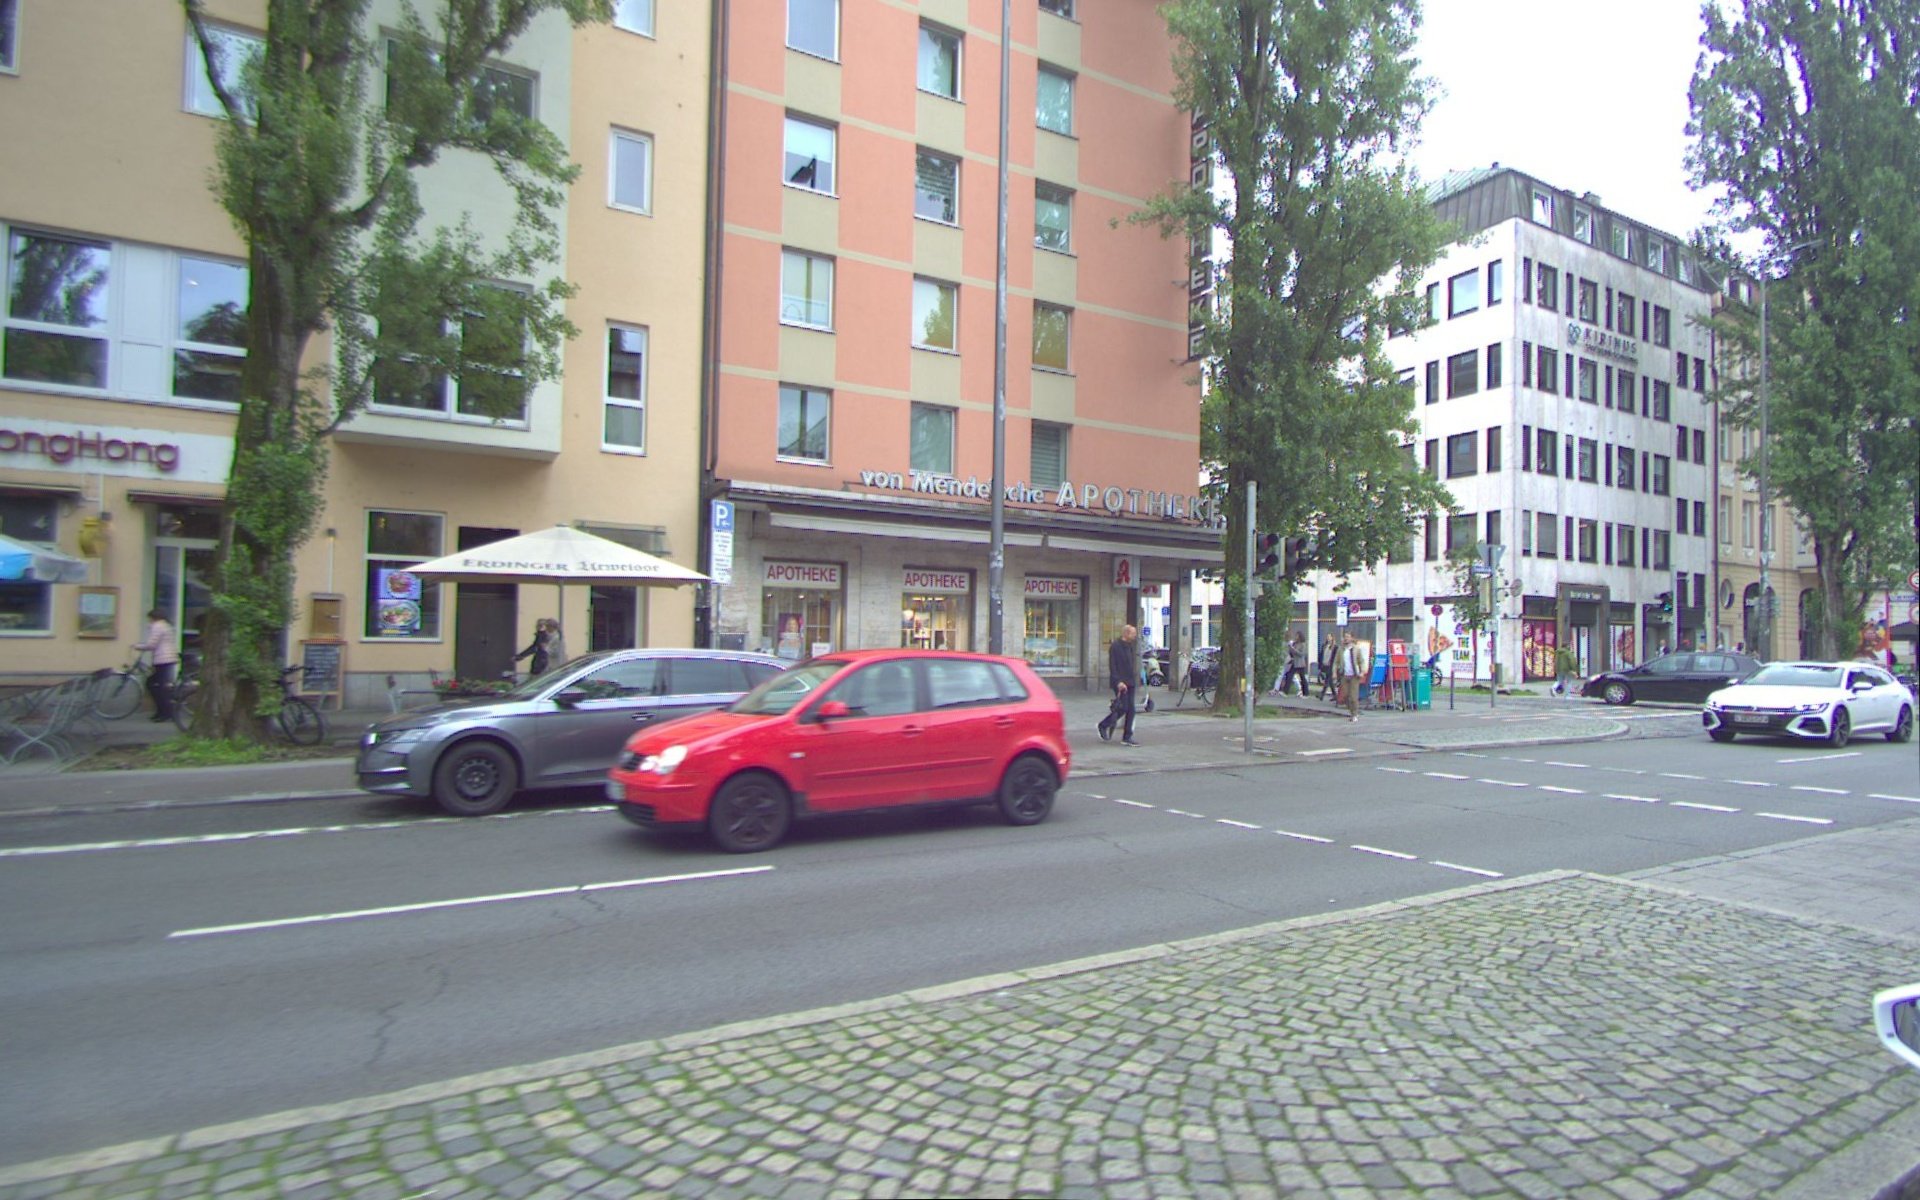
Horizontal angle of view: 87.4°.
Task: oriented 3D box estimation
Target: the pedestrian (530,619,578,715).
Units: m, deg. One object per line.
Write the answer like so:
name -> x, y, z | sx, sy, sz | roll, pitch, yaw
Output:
pedestrian -> -7.225, 1.182, 17.884 | 0.684, 1.660, 0.552 | 2, -2, -31

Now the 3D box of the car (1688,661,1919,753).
car -> 15.169, 1.837, 17.968 | 4.579, 1.426, 1.814 | 3, -3, -31

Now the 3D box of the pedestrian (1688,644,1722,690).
pedestrian -> 28.972, 2.592, 39.048 | 0.966, 1.704, 0.728 | 2, -1, -30

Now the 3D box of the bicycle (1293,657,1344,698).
bicycle -> 10.881, 2.332, 30.484 | 2.044, 1.199, 0.412 | 3, -2, -37

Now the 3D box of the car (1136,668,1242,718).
car -> 8.122, 3.299, 35.941 | 1.755, 1.439, 3.980 | 3, -1, -21

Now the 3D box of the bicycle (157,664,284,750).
bicycle -> -9.025, 1.290, 12.260 | 1.504, 0.971, 0.325 | 1, -2, 14

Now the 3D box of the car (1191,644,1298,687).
car -> 10.329, 2.365, 36.755 | 1.755, 1.438, 3.981 | 2, -2, -21

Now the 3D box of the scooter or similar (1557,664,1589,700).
scooter or similar -> 19.908, 2.671, 32.625 | 0.271, 1.107, 0.808 | 3, -1, -33

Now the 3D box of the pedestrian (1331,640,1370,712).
pedestrian -> 8.986, 1.736, 23.122 | 0.541, 1.604, 0.654 | 2, -2, -29

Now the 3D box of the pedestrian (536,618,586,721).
pedestrian -> -6.880, 1.186, 17.316 | 0.684, 1.740, 0.552 | 2, -2, -31

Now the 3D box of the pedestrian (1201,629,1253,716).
pedestrian -> 5.683, 1.531, 21.370 | 0.768, 1.794, 0.721 | 2, -2, -29

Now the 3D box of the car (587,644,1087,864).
car -> -0.967, 1.129, 8.392 | 3.779, 1.456, 1.728 | 3, -3, -31

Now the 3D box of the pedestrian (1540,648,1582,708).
pedestrian -> 18.310, 2.381, 30.597 | 0.931, 1.763, 0.723 | 3, -1, -31

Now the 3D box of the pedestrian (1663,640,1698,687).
pedestrian -> 28.508, 2.496, 39.724 | 0.901, 1.811, 0.796 | 2, 0, -30

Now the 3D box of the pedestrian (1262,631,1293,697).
pedestrian -> 8.386, 1.677, 26.530 | 0.508, 1.713, 0.584 | 2, -2, -30

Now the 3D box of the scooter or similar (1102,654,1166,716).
scooter or similar -> 3.528, 1.705, 20.307 | 1.390, 1.189, 0.404 | 2, -2, -35

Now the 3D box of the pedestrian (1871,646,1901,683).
pedestrian -> 46.060, 3.205, 49.958 | 0.943, 1.767, 0.840 | 3, -1, -29

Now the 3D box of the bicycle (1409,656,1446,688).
bicycle -> 18.018, 2.766, 38.718 | 2.014, 1.199, 0.412 | 3, -2, -37

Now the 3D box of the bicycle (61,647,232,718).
bicycle -> -12.274, 1.243, 15.226 | 1.933, 1.015, 0.440 | 2, -2, -29

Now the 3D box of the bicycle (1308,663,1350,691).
bicycle -> 15.151, 3.133, 41.241 | 0.410, 1.061, 2.055 | 2, -2, -19

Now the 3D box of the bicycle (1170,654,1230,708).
bicycle -> 5.320, 1.779, 22.230 | 1.357, 1.156, 0.419 | 2, -2, -30

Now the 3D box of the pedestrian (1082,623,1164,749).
pedestrian -> 2.466, 1.286, 15.224 | 0.975, 1.819, 0.736 | 2, -1, -12

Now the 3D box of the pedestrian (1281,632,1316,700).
pedestrian -> 8.724, 1.688, 25.924 | 0.513, 1.711, 0.627 | 3, -1, -29

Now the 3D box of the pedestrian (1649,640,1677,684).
pedestrian -> 29.807, 2.618, 42.616 | 0.810, 1.811, 0.696 | 2, -2, -29

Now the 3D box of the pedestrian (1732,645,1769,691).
pedestrian -> 28.927, 2.493, 36.750 | 0.924, 1.640, 0.774 | 2, -2, -31

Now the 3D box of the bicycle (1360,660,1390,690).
bicycle -> 17.210, 3.111, 41.651 | 0.444, 1.199, 2.051 | -1, -3, 43

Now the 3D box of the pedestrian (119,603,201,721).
pedestrian -> -11.929, 0.912, 15.007 | 0.793, 1.690, 0.776 | 2, -2, -31

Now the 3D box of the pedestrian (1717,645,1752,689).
pedestrian -> 29.150, 2.515, 37.800 | 0.978, 1.588, 0.747 | 2, -2, -30

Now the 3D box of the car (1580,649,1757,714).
car -> 18.600, 2.086, 26.441 | 3.650, 1.494, 1.764 | -1, -3, 42

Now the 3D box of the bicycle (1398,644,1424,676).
bicycle -> 17.843, 2.369, 39.755 | 0.410, 1.199, 2.000 | 0, -3, 40

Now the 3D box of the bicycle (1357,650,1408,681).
bicycle -> 16.957, 2.630, 40.331 | 2.028, 1.199, 0.415 | 2, -2, -14

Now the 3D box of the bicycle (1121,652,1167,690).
bicycle -> 6.417, 2.452, 35.130 | 0.530, 1.199, 2.052 | 2, -1, -22

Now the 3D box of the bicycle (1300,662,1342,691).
bicycle -> 14.742, 3.114, 41.042 | 0.410, 1.061, 2.055 | 2, -2, -19

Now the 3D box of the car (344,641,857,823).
car -> -3.448, 1.196, 10.017 | 4.540, 1.456, 1.694 | 3, -4, -32
